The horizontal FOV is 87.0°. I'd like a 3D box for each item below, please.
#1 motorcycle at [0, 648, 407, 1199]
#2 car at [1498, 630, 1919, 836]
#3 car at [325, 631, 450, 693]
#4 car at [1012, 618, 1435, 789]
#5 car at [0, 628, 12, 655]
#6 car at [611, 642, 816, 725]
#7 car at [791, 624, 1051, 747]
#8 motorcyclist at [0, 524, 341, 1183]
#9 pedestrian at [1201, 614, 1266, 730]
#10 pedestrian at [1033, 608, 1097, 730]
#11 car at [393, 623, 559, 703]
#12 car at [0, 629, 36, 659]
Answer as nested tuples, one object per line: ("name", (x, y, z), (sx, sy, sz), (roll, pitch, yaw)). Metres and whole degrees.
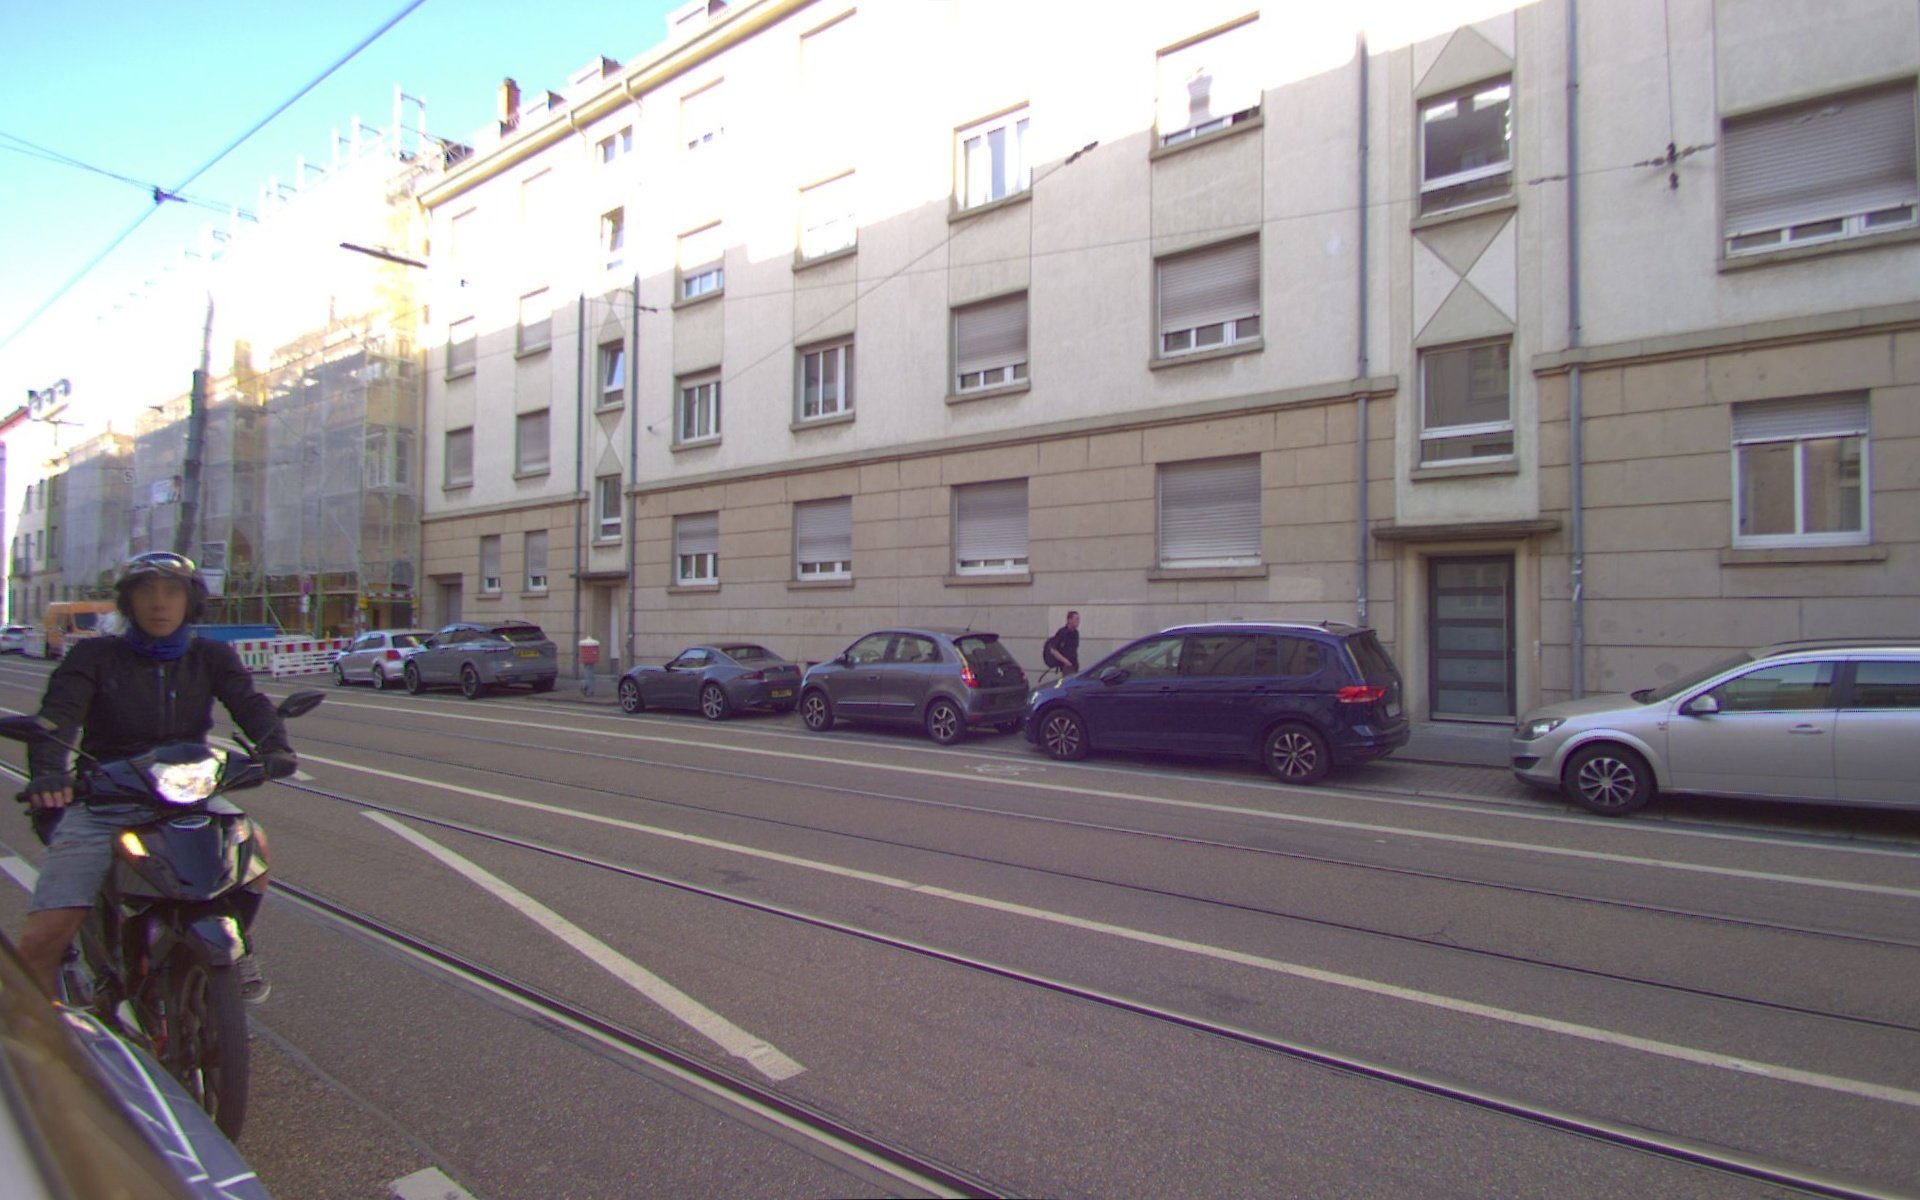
("motorcycle", (-2.635, 0.820, 3.227), (2.272, 1.302, 0.781), (-2, -3, 41))
("car", (7.130, 1.005, 8.493), (4.383, 1.489, 1.779), (-1, -1, 38))
("car", (-14.383, 1.503, 25.385), (3.506, 1.423, 1.524), (-1, -1, 38))
("car", (2.896, 1.036, 11.667), (4.383, 1.611, 1.779), (-1, -1, 38))
("car", (-54.585, 2.333, 56.799), (3.964, 1.498, 1.662), (-2, -1, 42))
("car", (-4.312, 1.370, 17.490), (3.681, 1.244, 1.502), (-1, -1, 38))
("car", (-0.625, 1.136, 14.645), (3.535, 1.539, 1.659), (-1, -1, 38))
("motorcyclist", (-2.538, 0.658, 3.150), (0.899, 1.668, 0.781), (-2, -3, 41))
("pedestrian", (3.780, 0.974, 13.980), (0.693, 1.553, 0.563), (-2, -3, 39))
("pedestrian", (1.542, 0.995, 14.864), (0.729, 1.722, 0.597), (-2, -3, 39))
("car", (-10.881, 1.338, 22.649), (4.201, 1.611, 1.675), (-1, -1, 38))
("car", (-50.069, 2.277, 53.323), (3.964, 1.498, 1.662), (-2, -1, 42))
